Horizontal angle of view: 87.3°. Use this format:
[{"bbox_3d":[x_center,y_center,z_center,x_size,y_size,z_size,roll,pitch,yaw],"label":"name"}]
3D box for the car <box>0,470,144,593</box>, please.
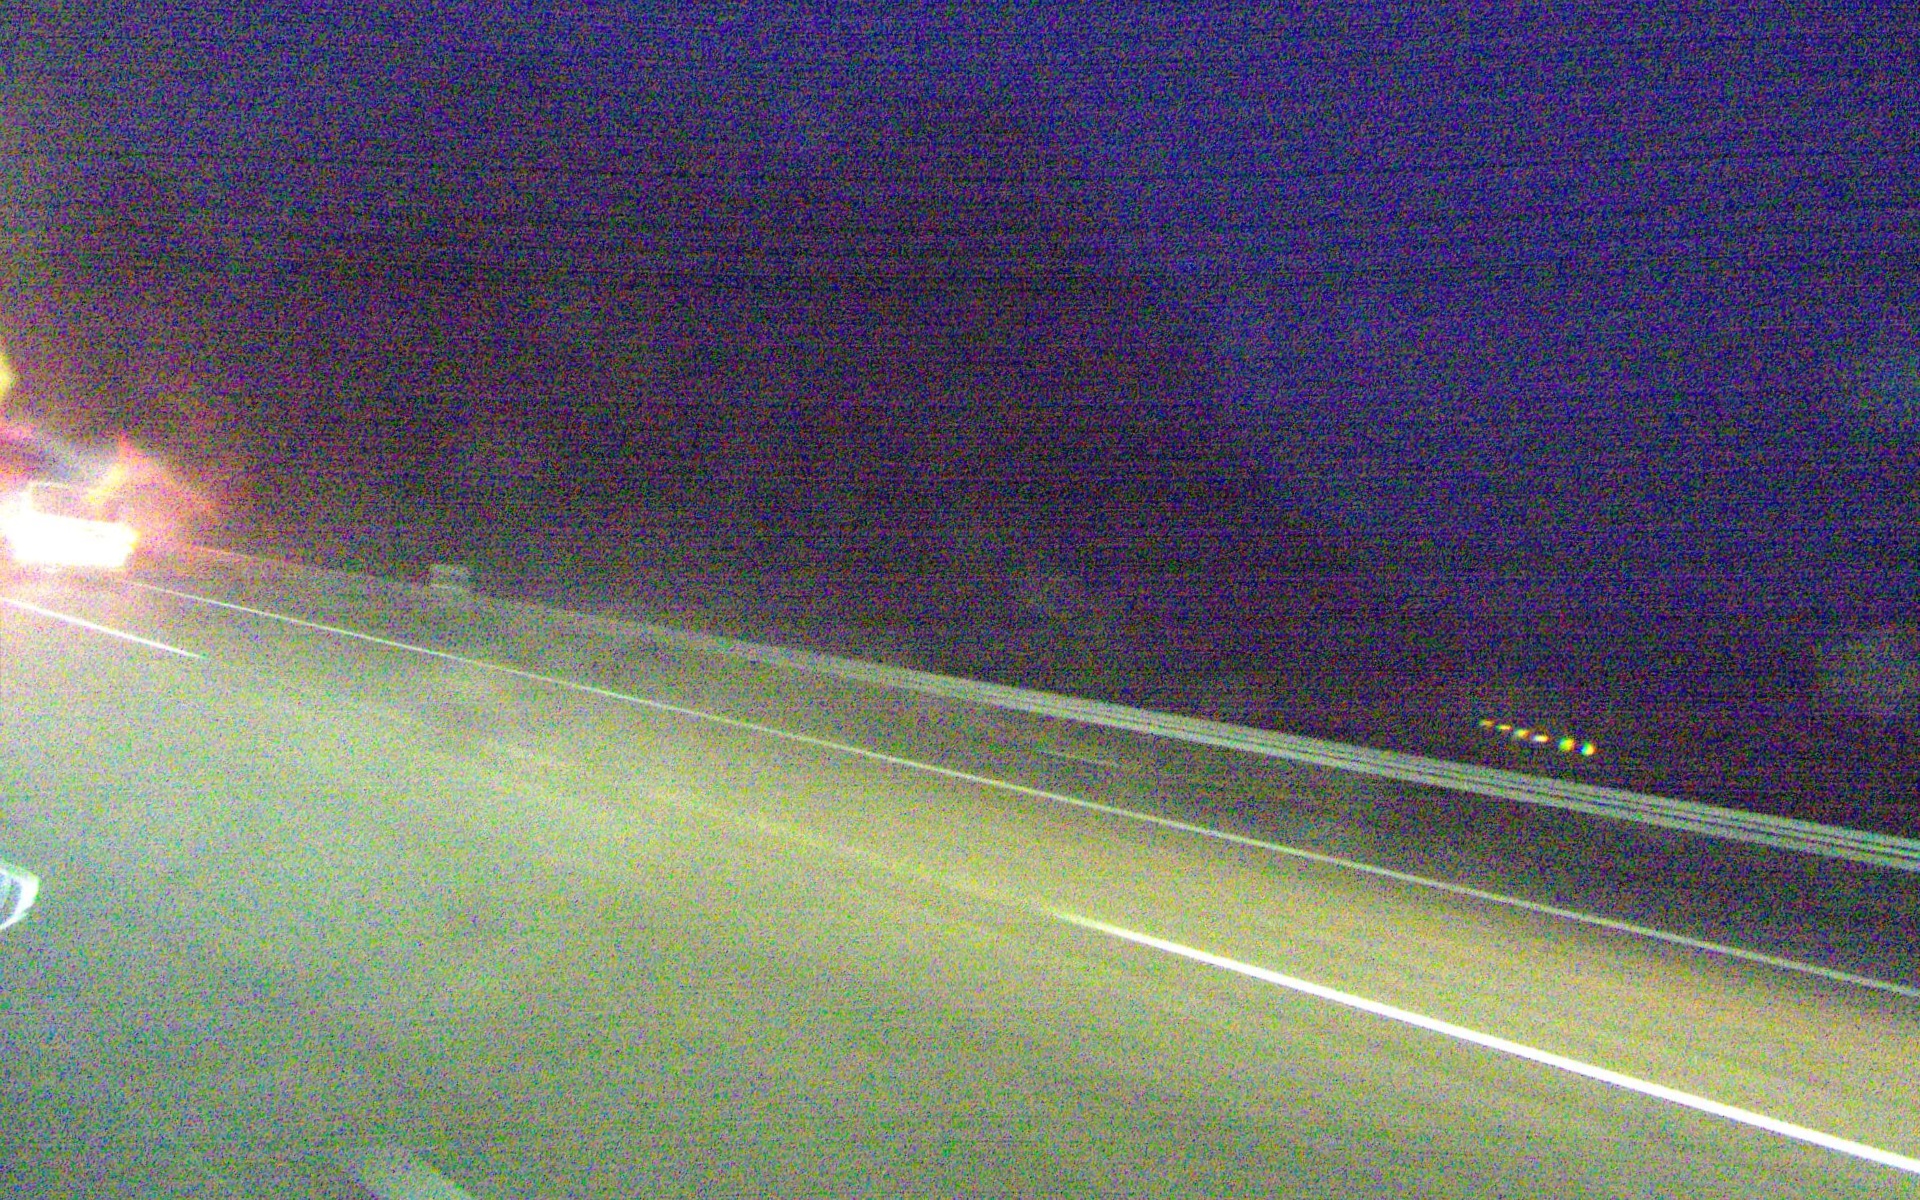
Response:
[{"bbox_3d":[-18.337,-1.466,19.698,5.318,1.999,2.047,7,1,33],"label":"car"}]
